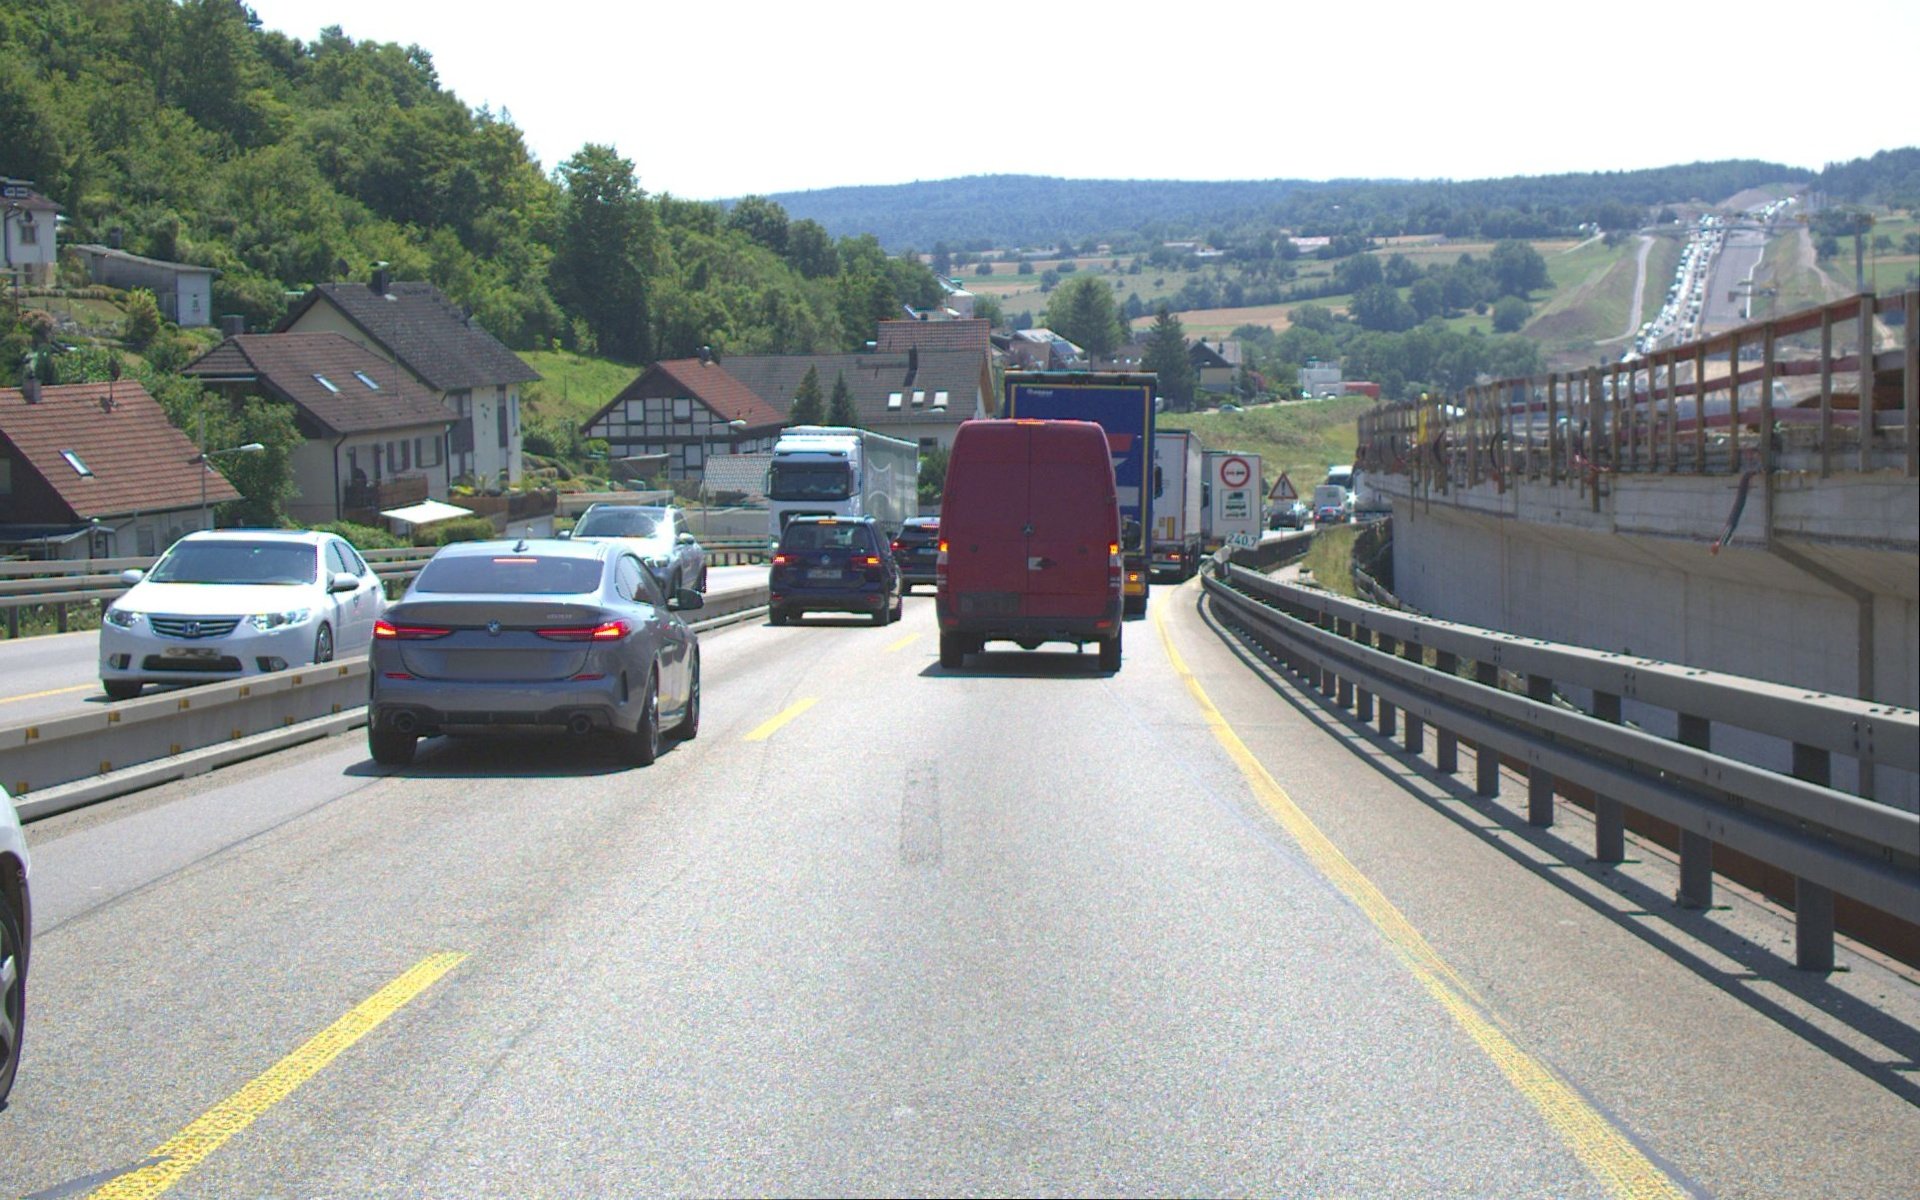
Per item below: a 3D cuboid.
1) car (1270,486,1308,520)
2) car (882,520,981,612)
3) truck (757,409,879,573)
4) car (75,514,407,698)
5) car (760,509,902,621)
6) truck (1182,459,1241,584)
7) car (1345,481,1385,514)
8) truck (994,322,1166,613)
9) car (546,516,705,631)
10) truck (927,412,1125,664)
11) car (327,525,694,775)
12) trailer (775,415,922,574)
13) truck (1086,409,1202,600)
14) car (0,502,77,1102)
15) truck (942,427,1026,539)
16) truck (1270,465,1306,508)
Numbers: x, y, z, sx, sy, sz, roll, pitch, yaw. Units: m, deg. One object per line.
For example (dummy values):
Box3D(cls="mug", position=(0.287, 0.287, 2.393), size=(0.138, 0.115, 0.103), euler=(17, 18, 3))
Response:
Box3D(cls="car", position=(20.102, -5.923, 209.782), size=(1.804, 2.006, 3.998), euler=(2, 2, 12))
Box3D(cls="car", position=(-0.560, -0.707, 71.469), size=(1.729, 1.832, 3.999), euler=(1, 0, 4))
Box3D(cls="truck", position=(-4.287, -3.268, 104.560), size=(3.061, 4.805, 4.644), euler=(1, 0, 5))
Box3D(cls="car", position=(-6.293, -0.004, 30.599), size=(1.912, 1.481, 4.477), euler=(1, 1, 1))
Box3D(cls="car", position=(-1.928, -0.529, 52.285), size=(1.810, 1.602, 3.719), euler=(1, 0, 3))
Box3D(cls="truck", position=(9.024, -2.791, 123.290), size=(1.994, 4.366, 3.999), euler=(1, 0, 5))
Box3D(cls="car", position=(26.299, -6.635, 223.242), size=(2.132, 2.007, 3.998), euler=(1, 0, 12))
Box3D(cls="truck", position=(2.144, -2.250, 62.188), size=(2.786, 4.799, 9.684), euler=(1, 0, 2))
Box3D(cls="car", position=(-5.207, -0.455, 54.058), size=(1.912, 1.699, 4.736), euler=(1, 1, 1))
Box3D(cls="truck", position=(0.760, -0.656, 37.485), size=(1.994, 2.570, 4.000), euler=(1, 0, 2))
Box3D(cls="car", position=(-2.857, 0.260, 22.658), size=(1.795, 1.480, 4.050), euler=(1, 1, 1))
Box3D(cls="trailer", position=(-3.502, -3.294, 112.092), size=(3.065, 4.799, 13.999), euler=(1, 0, 5))
Box3D(cls="truck", position=(4.838, -2.455, 92.067), size=(2.786, 4.799, 9.684), euler=(1, 0, 2))
Box3D(cls="car", position=(-3.227, 0.528, 7.023), size=(1.651, 1.478, 4.266), euler=(-1, 1, 1))
Box3D(cls="truck", position=(1.051, -4.943, 146.162), size=(2.847, 4.564, 5.786), euler=(1, 0, 7))
Box3D(cls="truck", position=(12.438, -4.288, 130.360), size=(1.314, 1.537, 3.151), euler=(1, 0, 6))
